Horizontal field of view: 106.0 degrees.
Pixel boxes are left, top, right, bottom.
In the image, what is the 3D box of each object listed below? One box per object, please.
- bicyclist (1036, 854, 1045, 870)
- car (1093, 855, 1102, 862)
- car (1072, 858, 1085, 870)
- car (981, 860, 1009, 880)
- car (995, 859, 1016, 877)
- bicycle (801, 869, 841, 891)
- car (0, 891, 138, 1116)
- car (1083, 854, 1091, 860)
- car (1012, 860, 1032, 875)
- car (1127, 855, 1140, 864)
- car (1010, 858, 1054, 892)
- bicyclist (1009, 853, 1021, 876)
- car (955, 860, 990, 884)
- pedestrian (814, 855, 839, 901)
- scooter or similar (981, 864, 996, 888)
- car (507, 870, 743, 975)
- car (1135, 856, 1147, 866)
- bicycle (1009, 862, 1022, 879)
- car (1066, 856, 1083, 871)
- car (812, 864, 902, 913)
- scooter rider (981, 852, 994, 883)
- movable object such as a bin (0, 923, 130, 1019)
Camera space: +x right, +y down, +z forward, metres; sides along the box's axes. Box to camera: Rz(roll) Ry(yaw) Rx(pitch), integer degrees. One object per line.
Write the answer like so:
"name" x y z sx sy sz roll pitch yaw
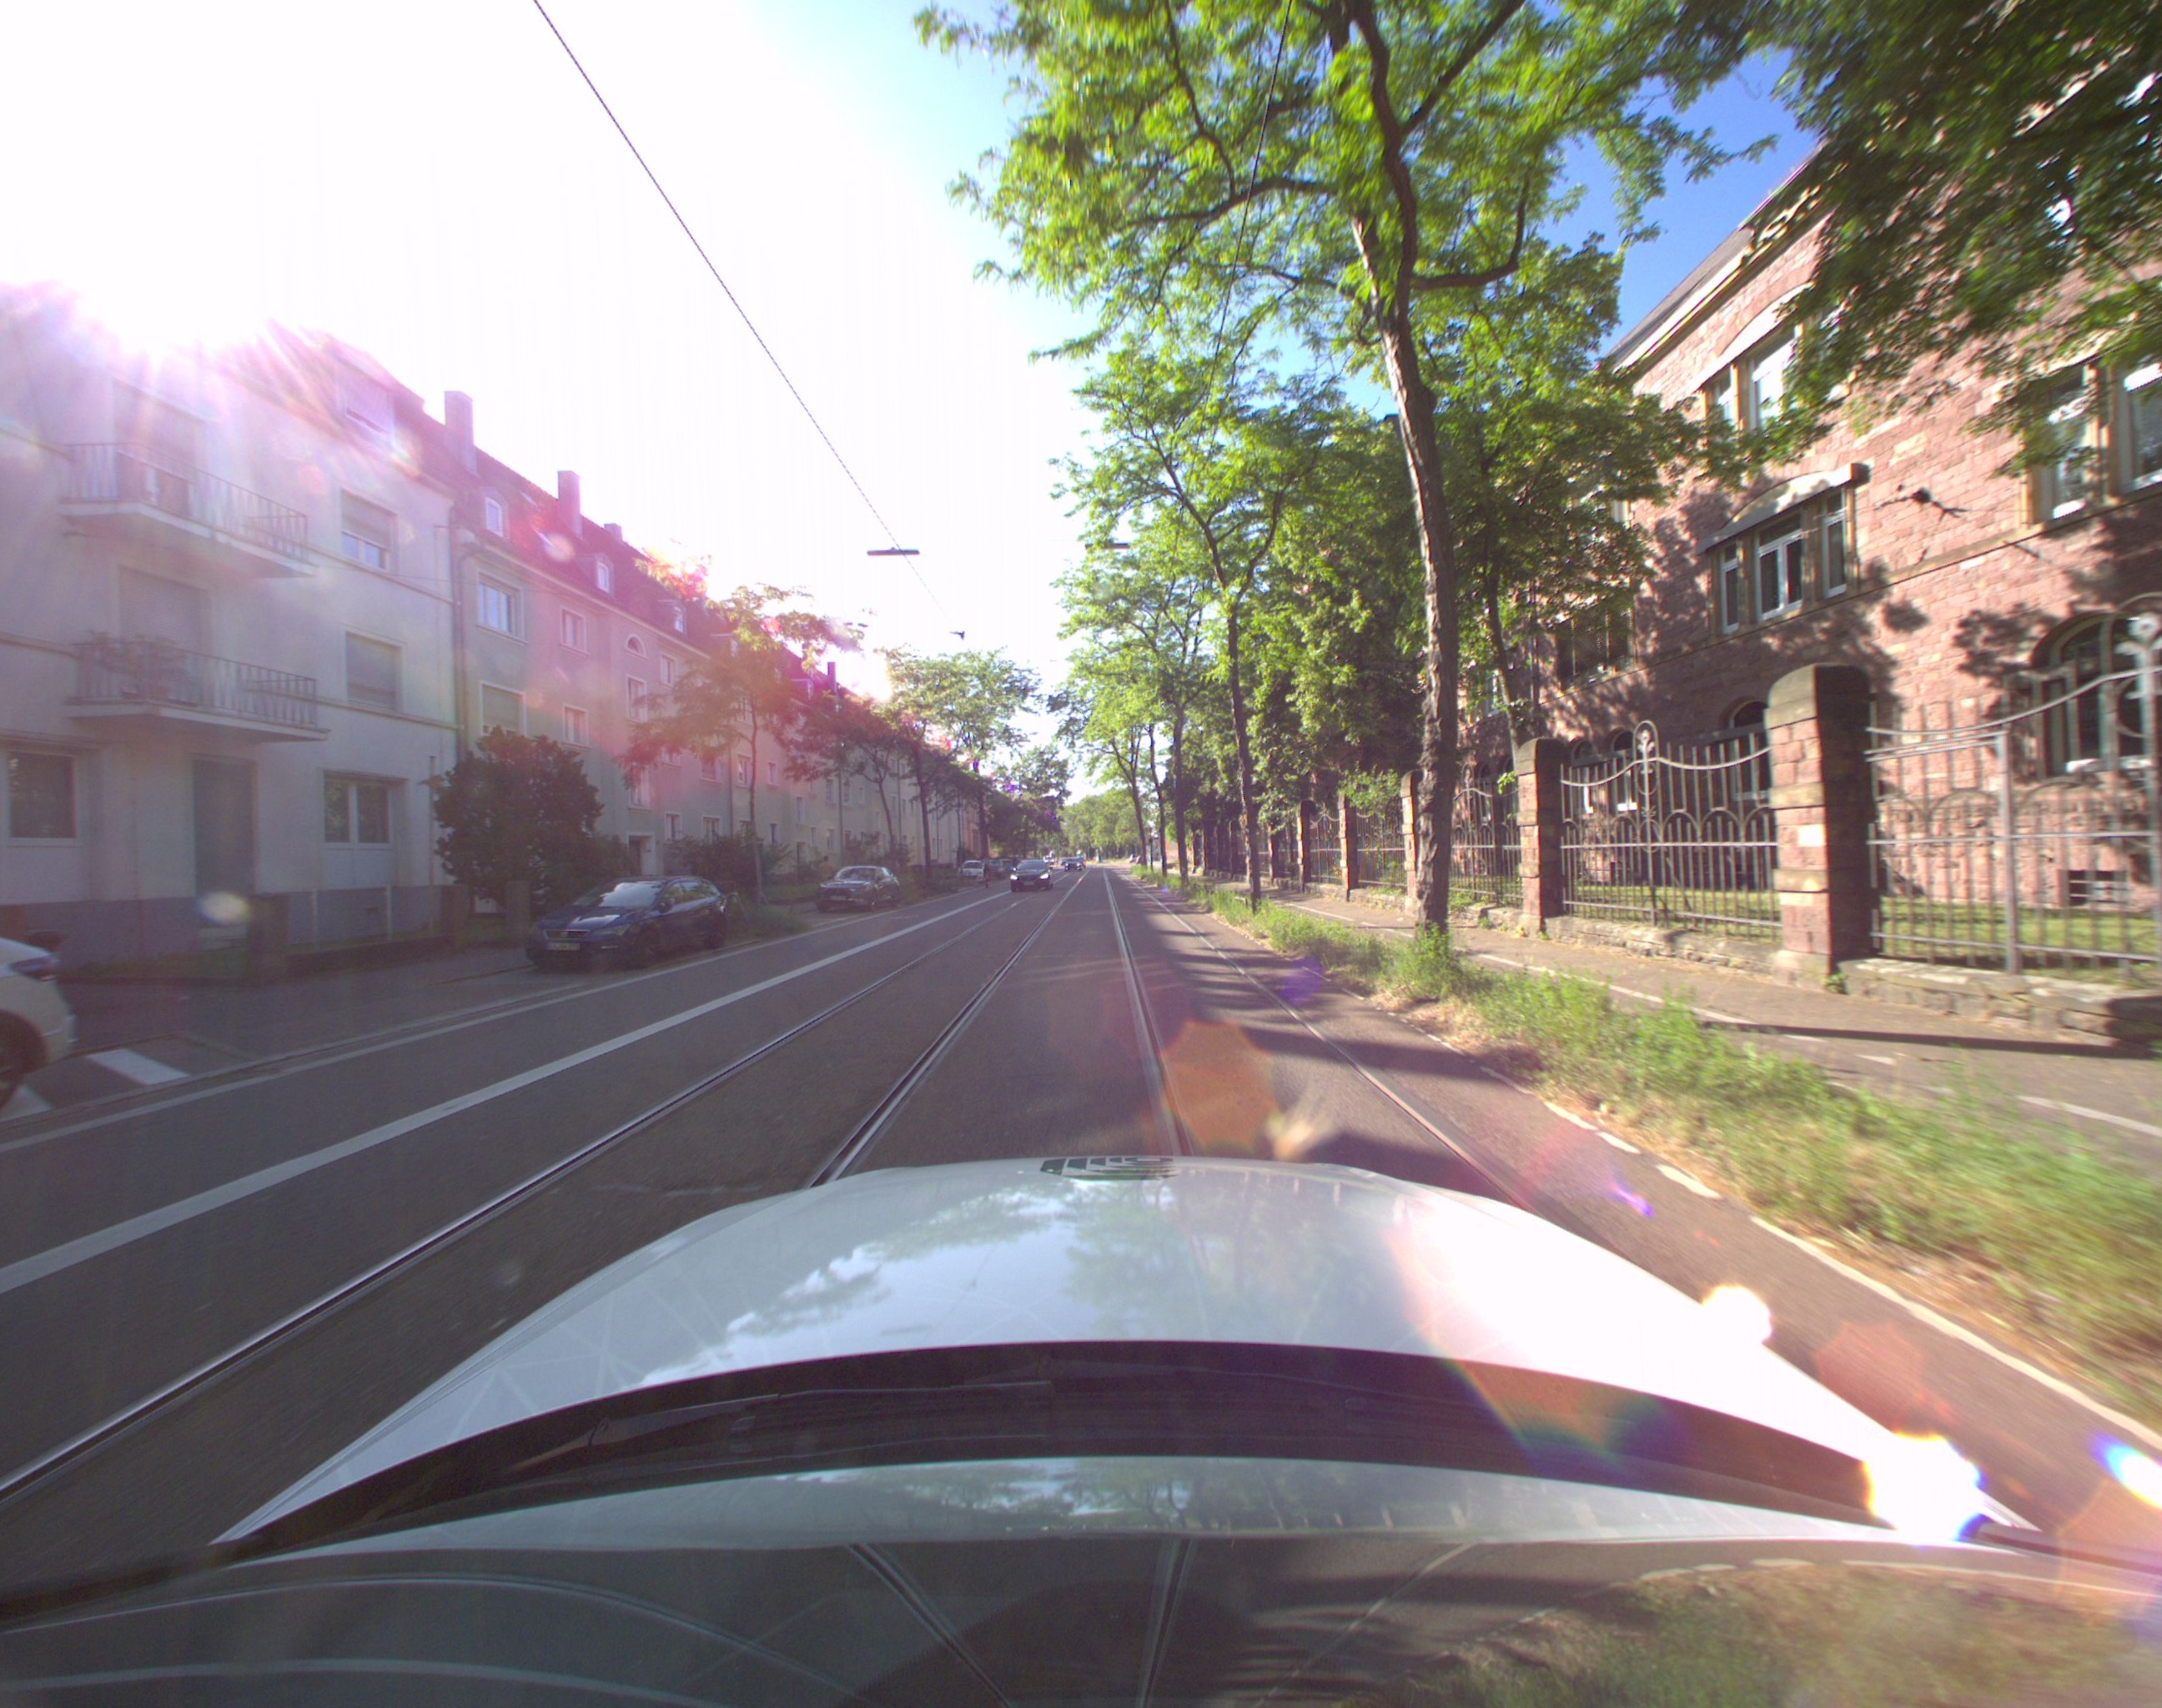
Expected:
"bicyclist" -4.244 0.877 85.785 0.707 1.607 0.865 -4 0 1
"car" 4.364 1.233 214.200 1.939 1.610 3.994 -2 0 -4
"car" -0.301 1.360 109.224 1.694 1.471 4.071 -1 0 0
"car" -6.604 1.190 62.784 1.681 1.485 3.760 1 0 0
"car" -6.648 1.219 72.210 1.555 1.457 3.929 1 0 -1
"bicycle" -13.618 1.356 42.610 1.901 1.177 0.521 0 -1 -2
"car" -8.360 1.058 4.232 1.811 1.511 4.370 -1 0 0
"car" 1.751 0.977 229.801 1.939 1.610 3.995 -2 0 -4
"car" -6.091 1.352 84.848 1.740 1.490 4.323 1 0 0
"car" 10.136 1.122 157.213 1.939 1.610 3.994 -2 0 -4
"car" -2.237 0.931 38.453 1.752 1.439 4.523 -1 0 0
"bicyclist" -4.844 0.798 59.978 0.624 1.639 0.940 -4 0 1
"car" -7.104 1.171 53.686 1.696 1.485 4.080 1 0 1
"pedestrian" -10.162 0.953 32.547 0.689 1.801 0.813 -2 0 1
"scooter or similar" -5.242 1.242 46.166 0.518 1.297 1.378 -5 0 1
"car" -7.940 1.097 14.760 1.752 1.511 4.438 -1 0 0
"car" 10.485 1.241 142.890 1.833 1.655 3.578 -2 0 -1
"bicycle" -4.809 1.232 60.017 0.624 1.177 1.913 -4 0 1
"car" -0.695 0.993 86.164 1.694 1.439 4.071 -1 0 0
"car" -7.525 1.108 27.749 1.810 1.485 4.207 -1 0 1
"scooter rider" -5.288 0.752 46.177 0.495 1.699 0.787 -5 0 1
"movable object such as a bin" -11.516 1.302 9.249 0.557 0.975 0.733 0 0 4
